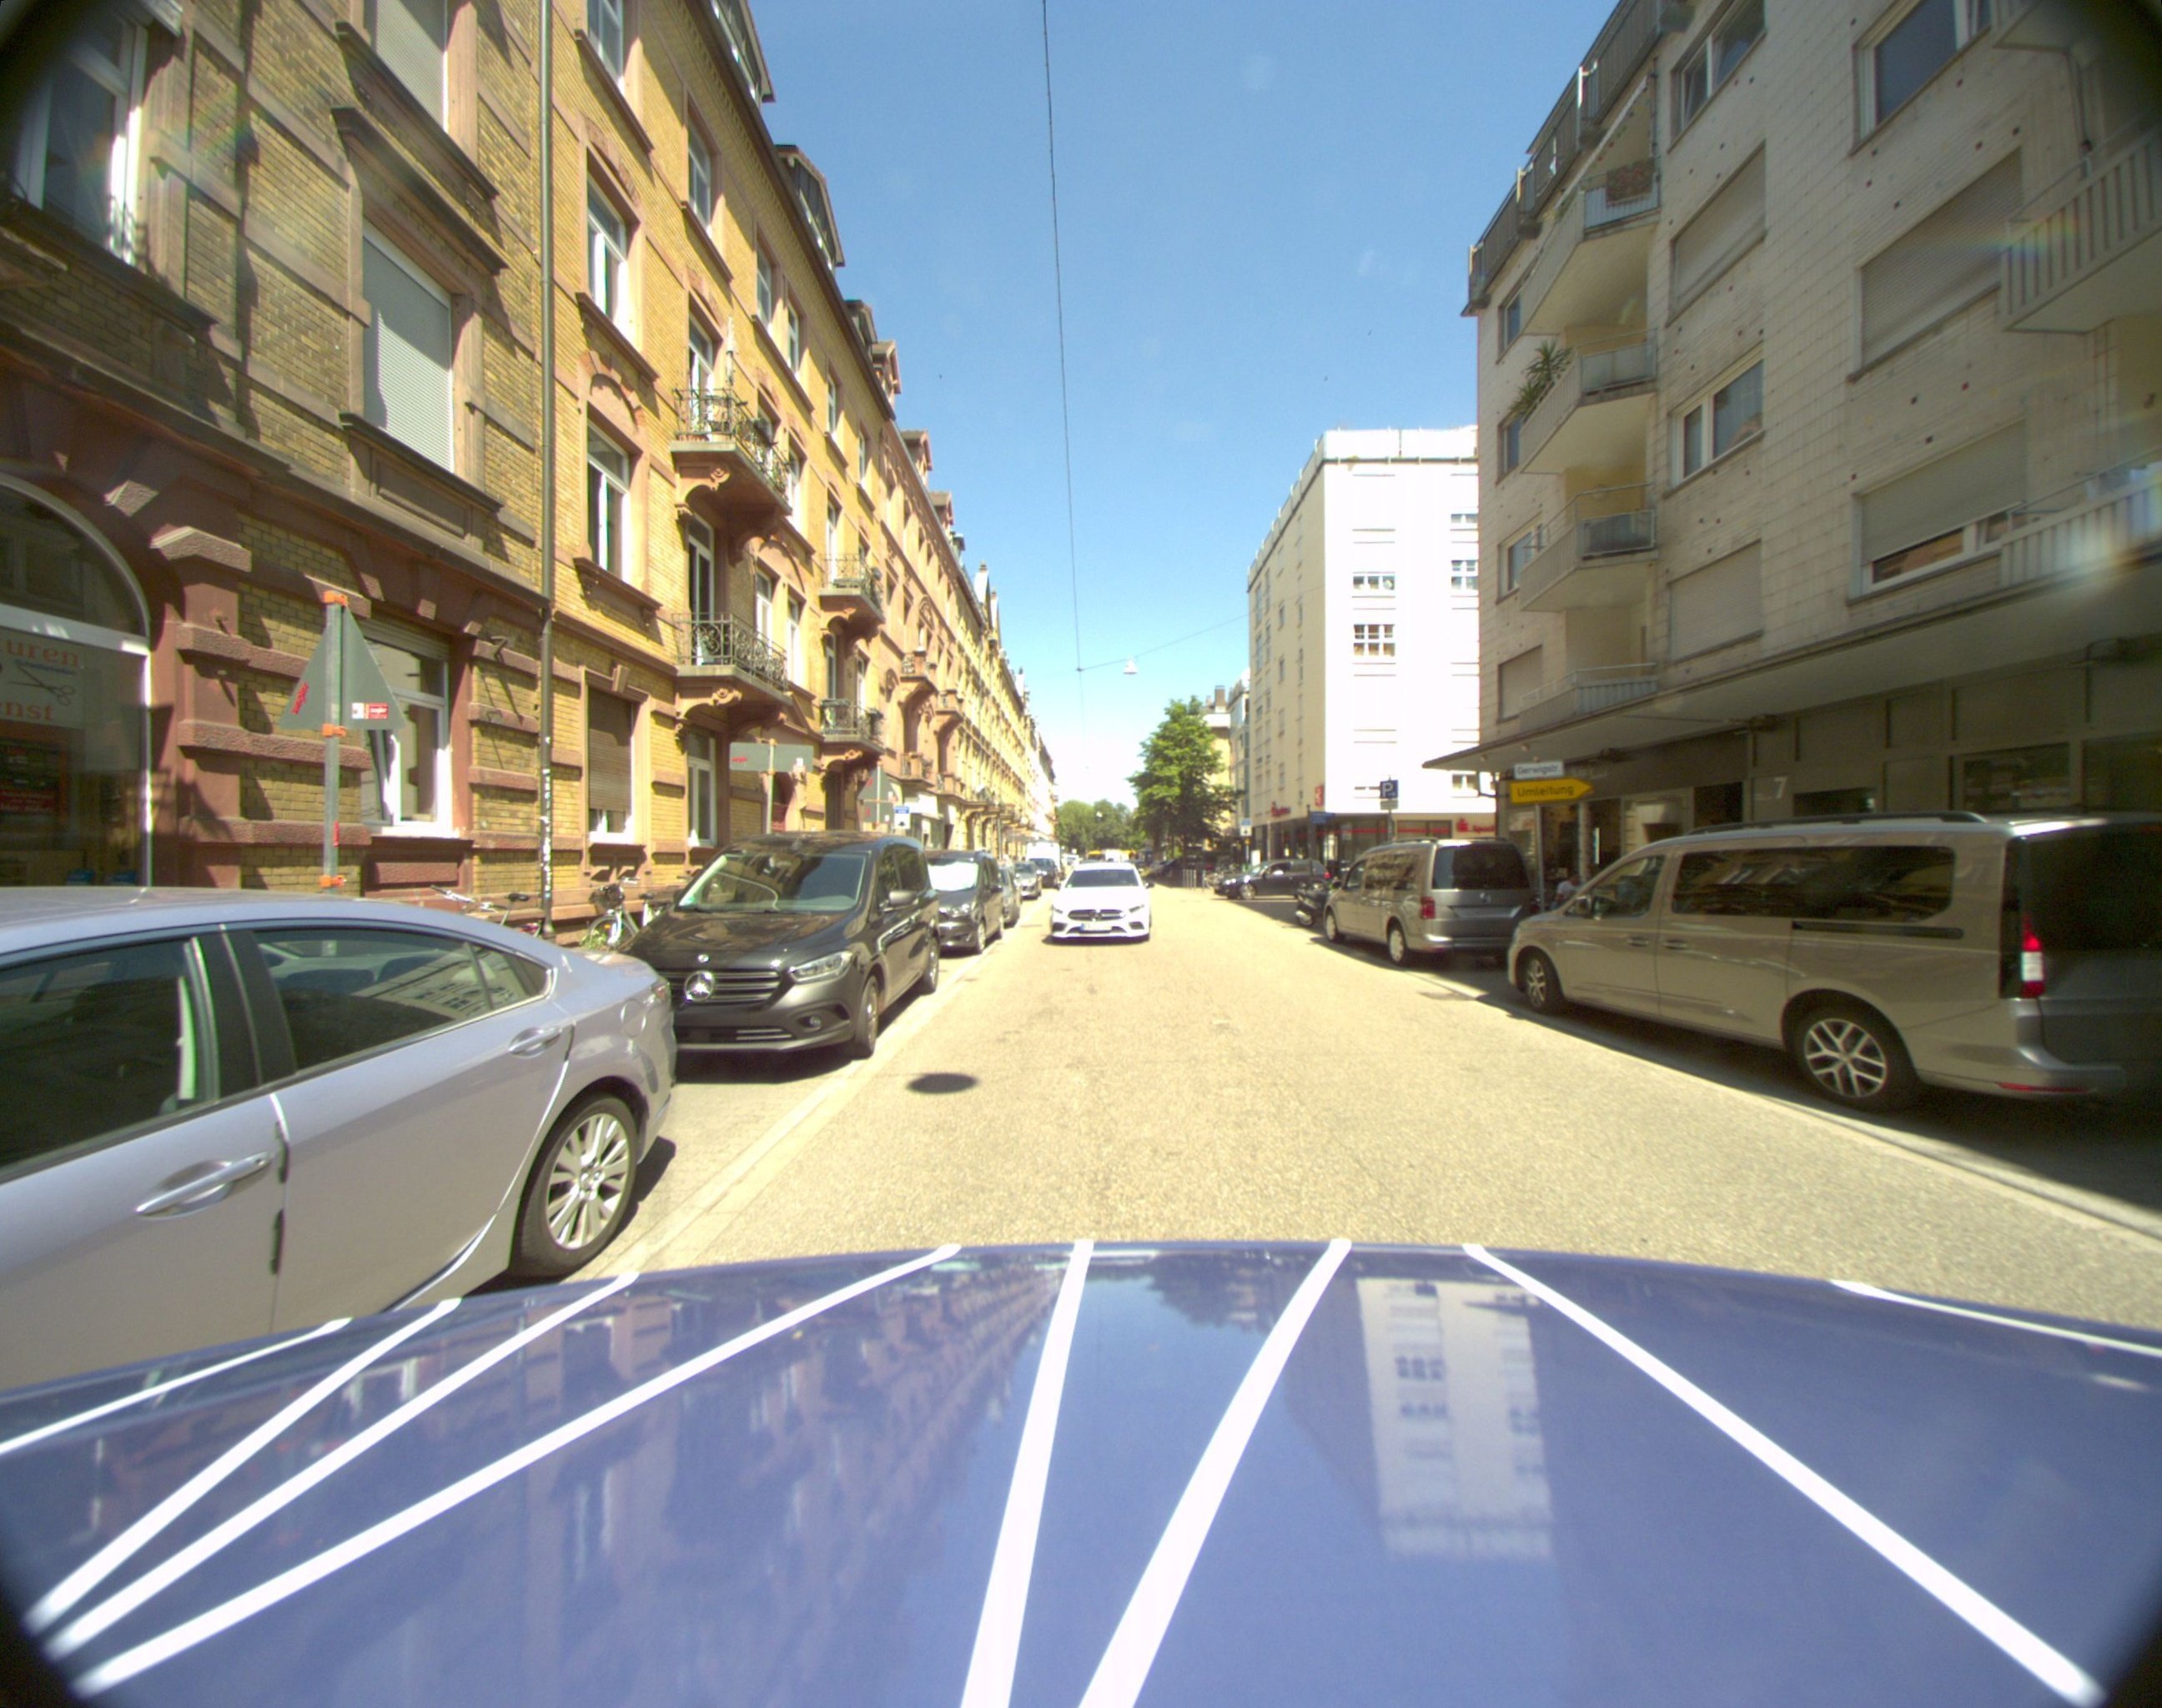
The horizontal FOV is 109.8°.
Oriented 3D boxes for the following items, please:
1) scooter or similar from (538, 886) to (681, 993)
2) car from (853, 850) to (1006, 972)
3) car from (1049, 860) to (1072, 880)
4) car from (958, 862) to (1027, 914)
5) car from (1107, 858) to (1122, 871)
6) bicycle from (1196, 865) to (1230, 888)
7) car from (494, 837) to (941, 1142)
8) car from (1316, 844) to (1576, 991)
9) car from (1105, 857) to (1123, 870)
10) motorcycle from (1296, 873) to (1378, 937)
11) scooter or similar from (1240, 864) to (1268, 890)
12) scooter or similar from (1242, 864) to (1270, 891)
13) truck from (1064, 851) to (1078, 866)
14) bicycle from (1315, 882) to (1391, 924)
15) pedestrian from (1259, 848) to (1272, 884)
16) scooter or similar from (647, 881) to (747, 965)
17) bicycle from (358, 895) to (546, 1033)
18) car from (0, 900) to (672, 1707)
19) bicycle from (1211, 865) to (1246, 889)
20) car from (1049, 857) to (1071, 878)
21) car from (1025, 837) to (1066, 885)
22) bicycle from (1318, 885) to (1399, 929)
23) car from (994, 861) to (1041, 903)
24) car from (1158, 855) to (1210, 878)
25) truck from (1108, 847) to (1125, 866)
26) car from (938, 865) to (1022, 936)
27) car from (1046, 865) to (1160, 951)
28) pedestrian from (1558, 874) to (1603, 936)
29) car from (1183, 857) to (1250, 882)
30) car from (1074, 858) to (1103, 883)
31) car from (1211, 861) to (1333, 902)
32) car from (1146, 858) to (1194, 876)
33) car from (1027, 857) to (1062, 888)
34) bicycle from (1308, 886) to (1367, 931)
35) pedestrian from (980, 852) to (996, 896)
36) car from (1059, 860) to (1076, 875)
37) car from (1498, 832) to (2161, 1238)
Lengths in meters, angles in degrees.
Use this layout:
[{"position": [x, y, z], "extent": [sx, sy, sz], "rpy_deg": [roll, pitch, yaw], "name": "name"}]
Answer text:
[{"position": [-6.017, 1.039, 9.856], "extent": [0.477, 1.146, 2.149], "rpy_deg": [-1, 0, 1], "name": "scooter or similar"}, {"position": [-2.372, 0.816, 12.907], "extent": [1.706, 1.723, 4.000], "rpy_deg": [-1, 0, 1], "name": "car"}, {"position": [-1.466, 1.102, 53.008], "extent": [1.533, 1.293, 3.686], "rpy_deg": [-1, 0, -2], "name": "car"}, {"position": [-2.771, 1.025, 24.503], "extent": [1.830, 1.452, 3.999], "rpy_deg": [-1, 0, -2], "name": "car"}, {"position": [4.793, 1.529, 109.716], "extent": [1.998, 1.674, 4.000], "rpy_deg": [-2, 0, 1], "name": "car"}, {"position": [6.587, 1.143, 37.874], "extent": [1.608, 1.084, 0.371], "rpy_deg": [-2, 0, 6], "name": "bicycle"}, {"position": [-2.500, 0.791, 6.570], "extent": [1.829, 1.756, 4.337], "rpy_deg": [1, 0, -1], "name": "car"}, {"position": [5.395, 0.819, 12.100], "extent": [1.793, 1.818, 4.901], "rpy_deg": [-2, 0, 1], "name": "car"}, {"position": [4.029, 1.133, 93.070], "extent": [1.998, 1.505, 4.000], "rpy_deg": [-2, 0, 1], "name": "car"}, {"position": [5.397, 1.068, 16.055], "extent": [1.552, 1.276, 0.394], "rpy_deg": [-2, 1, 33], "name": "motorcycle"}, {"position": [7.881, 1.036, 34.597], "extent": [1.192, 1.160, 0.289], "rpy_deg": [0, 0, -1], "name": "scooter or similar"}, {"position": [7.747, 1.047, 33.659], "extent": [1.192, 1.160, 0.289], "rpy_deg": [0, 0, -1], "name": "scooter or similar"}, {"position": [-1.412, 0.661, 109.097], "extent": [1.998, 2.002, 4.902], "rpy_deg": [0, 0, 1], "name": "truck"}, {"position": [6.635, 1.181, 18.572], "extent": [1.706, 0.951, 0.411], "rpy_deg": [-1, 1, 43], "name": "bicycle"}, {"position": [10.864, 0.694, 44.783], "extent": [0.608, 2.113, 0.496], "rpy_deg": [0, 0, 36], "name": "pedestrian"}, {"position": [-6.016, 1.038, 12.046], "extent": [0.477, 1.146, 2.112], "rpy_deg": [-1, 0, 1], "name": "scooter or similar"}, {"position": [-6.014, 0.992, 7.396], "extent": [0.354, 1.097, 1.755], "rpy_deg": [0, 0, 1], "name": "bicycle"}, {"position": [-2.727, 0.932, 1.253], "extent": [1.730, 1.424, 4.485], "rpy_deg": [1, 0, -1], "name": "car"}, {"position": [7.019, 1.097, 36.192], "extent": [1.608, 1.084, 0.371], "rpy_deg": [-2, 0, 6], "name": "bicycle"}, {"position": [-1.721, 1.062, 61.254], "extent": [1.682, 1.528, 3.999], "rpy_deg": [-1, 0, -2], "name": "car"}, {"position": [-2.068, 0.385, 45.665], "extent": [2.067, 2.686, 5.039], "rpy_deg": [-2, 0, 1], "name": "car"}, {"position": [6.360, 1.195, 17.448], "extent": [1.706, 0.951, 0.411], "rpy_deg": [-1, 1, 43], "name": "bicycle"}, {"position": [-2.386, 1.018, 29.254], "extent": [1.603, 1.453, 3.689], "rpy_deg": [-1, 0, -2], "name": "car"}, {"position": [8.051, 0.960, 59.862], "extent": [3.885, 1.737, 1.652], "rpy_deg": [0, 0, 0], "name": "car"}, {"position": [6.193, 0.426, 131.878], "extent": [2.763, 3.270, 4.957], "rpy_deg": [0, 0, 1], "name": "truck"}, {"position": [-2.335, 1.028, 18.335], "extent": [1.766, 1.441, 3.903], "rpy_deg": [-1, 0, -5], "name": "car"}, {"position": [0.581, 0.962, 15.203], "extent": [1.813, 1.417, 4.244], "rpy_deg": [0, 0, 8], "name": "car"}, {"position": [9.290, 0.931, 14.133], "extent": [0.500, 1.120, 0.507], "rpy_deg": [0, 0, -19], "name": "pedestrian"}, {"position": [8.356, 0.970, 47.195], "extent": [3.885, 1.520, 1.652], "rpy_deg": [0, 0, 0], "name": "car"}, {"position": [0.502, 1.049, 49.684], "extent": [1.780, 1.460, 4.000], "rpy_deg": [-2, 0, 1], "name": "car"}, {"position": [6.837, 0.962, 27.393], "extent": [3.890, 1.417, 1.814], "rpy_deg": [0, 0, -5], "name": "car"}, {"position": [7.623, 1.079, 65.387], "extent": [3.885, 1.487, 1.652], "rpy_deg": [0, 0, 0], "name": "car"}, {"position": [-1.898, 0.931, 39.894], "extent": [1.682, 1.528, 3.999], "rpy_deg": [-1, 0, -2], "name": "car"}, {"position": [5.747, 1.208, 17.079], "extent": [1.210, 0.951, 0.338], "rpy_deg": [-1, 1, 43], "name": "bicycle"}, {"position": [-4.049, 0.859, 33.035], "extent": [0.635, 1.903, 0.370], "rpy_deg": [0, 0, 1], "name": "pedestrian"}, {"position": [-1.431, 1.412, 79.506], "extent": [1.682, 1.528, 3.999], "rpy_deg": [-1, 0, -2], "name": "car"}, {"position": [5.430, 0.802, 5.759], "extent": [1.793, 1.800, 4.698], "rpy_deg": [-2, 0, -2], "name": "car"}]
